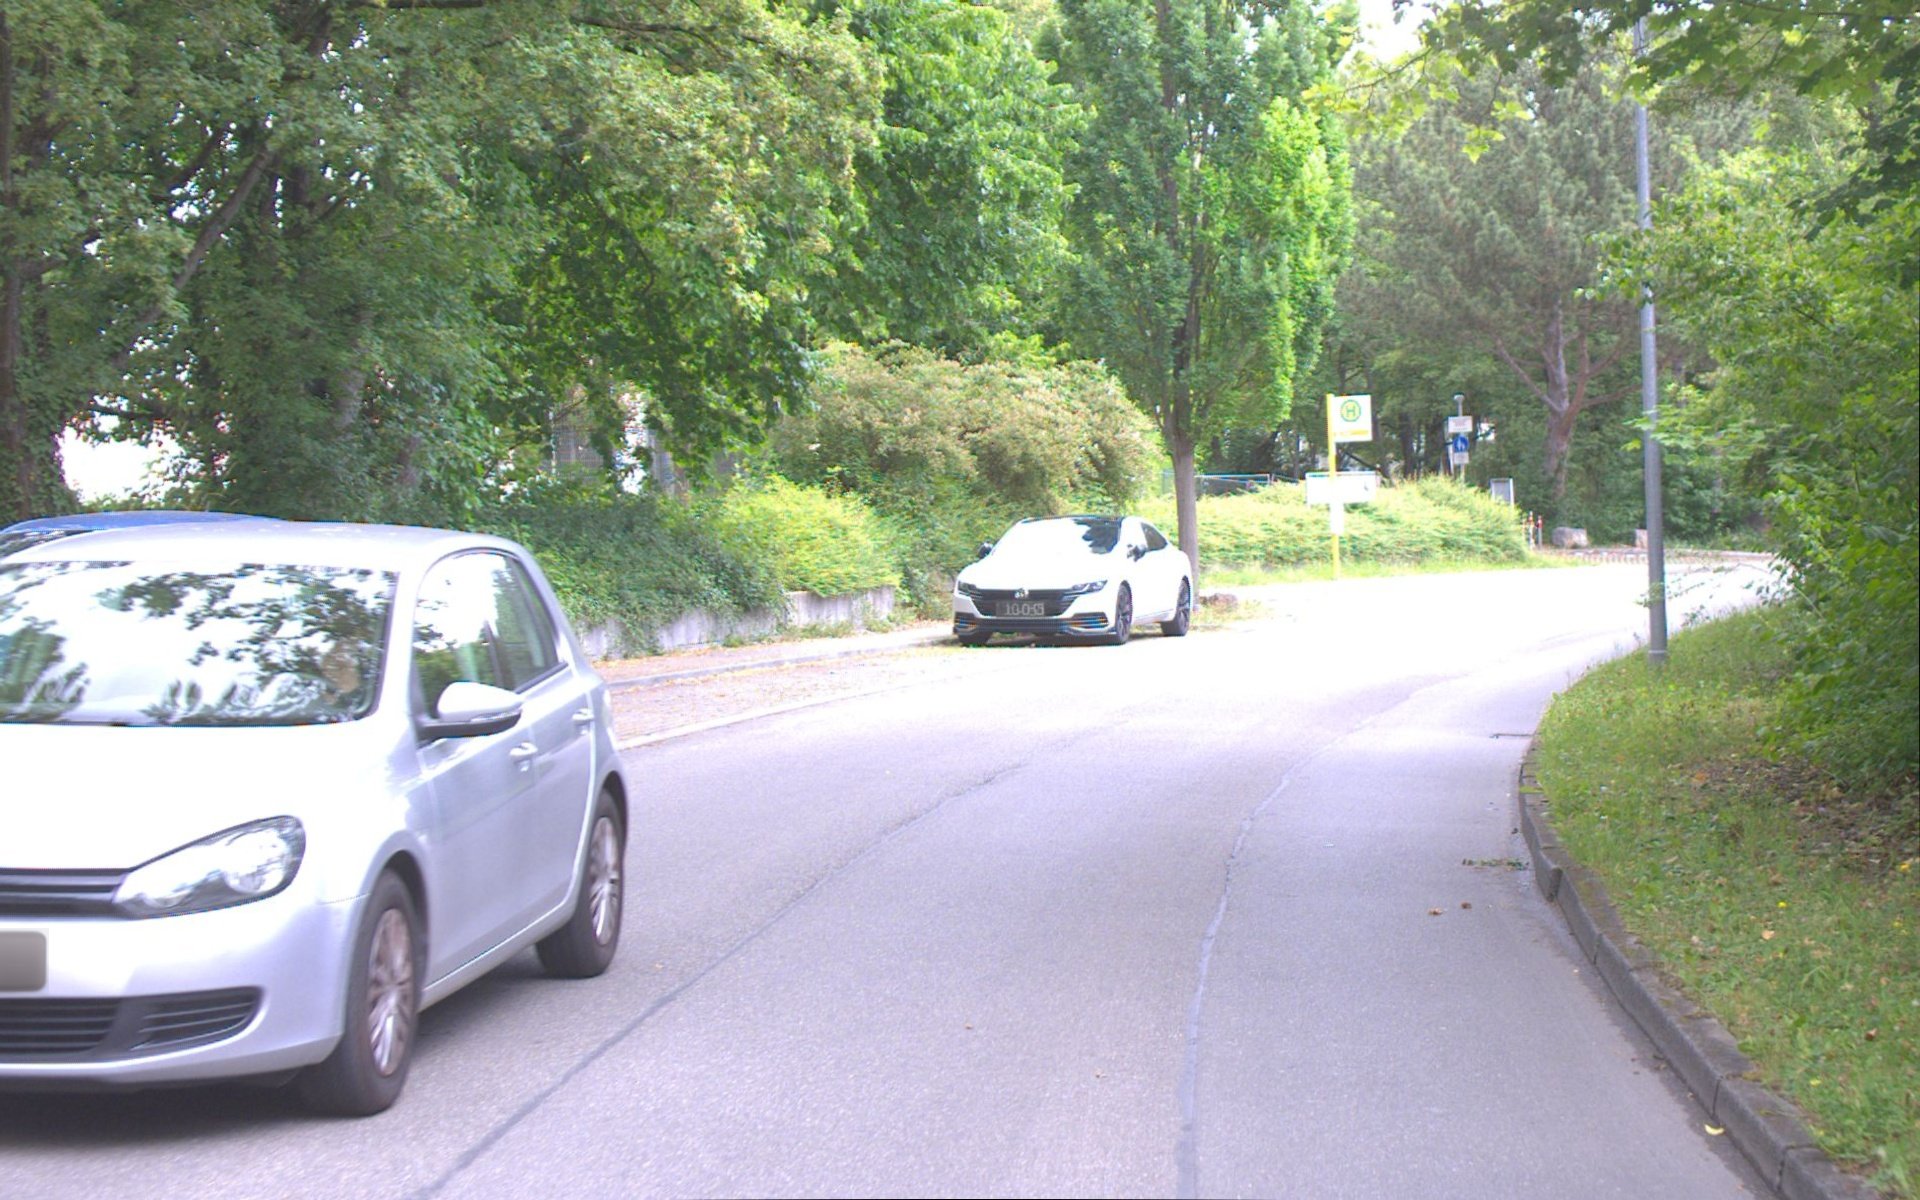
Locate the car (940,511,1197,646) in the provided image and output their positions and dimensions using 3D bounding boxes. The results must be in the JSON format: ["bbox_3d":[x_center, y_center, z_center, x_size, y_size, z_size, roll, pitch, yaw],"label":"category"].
[{"bbox_3d":[1.280,-0.279,38.514,1.815,1.419,4.357,1,1,17],"label":"car"}]

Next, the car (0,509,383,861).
[{"bbox_3d":[-3.969,0.314,16.175,1.534,1.454,3.720,-1,1,6],"label":"car"}]

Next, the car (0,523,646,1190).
[{"bbox_3d":[-2.115,0.532,9.843,1.677,1.457,4.061,1,2,6],"label":"car"}]
